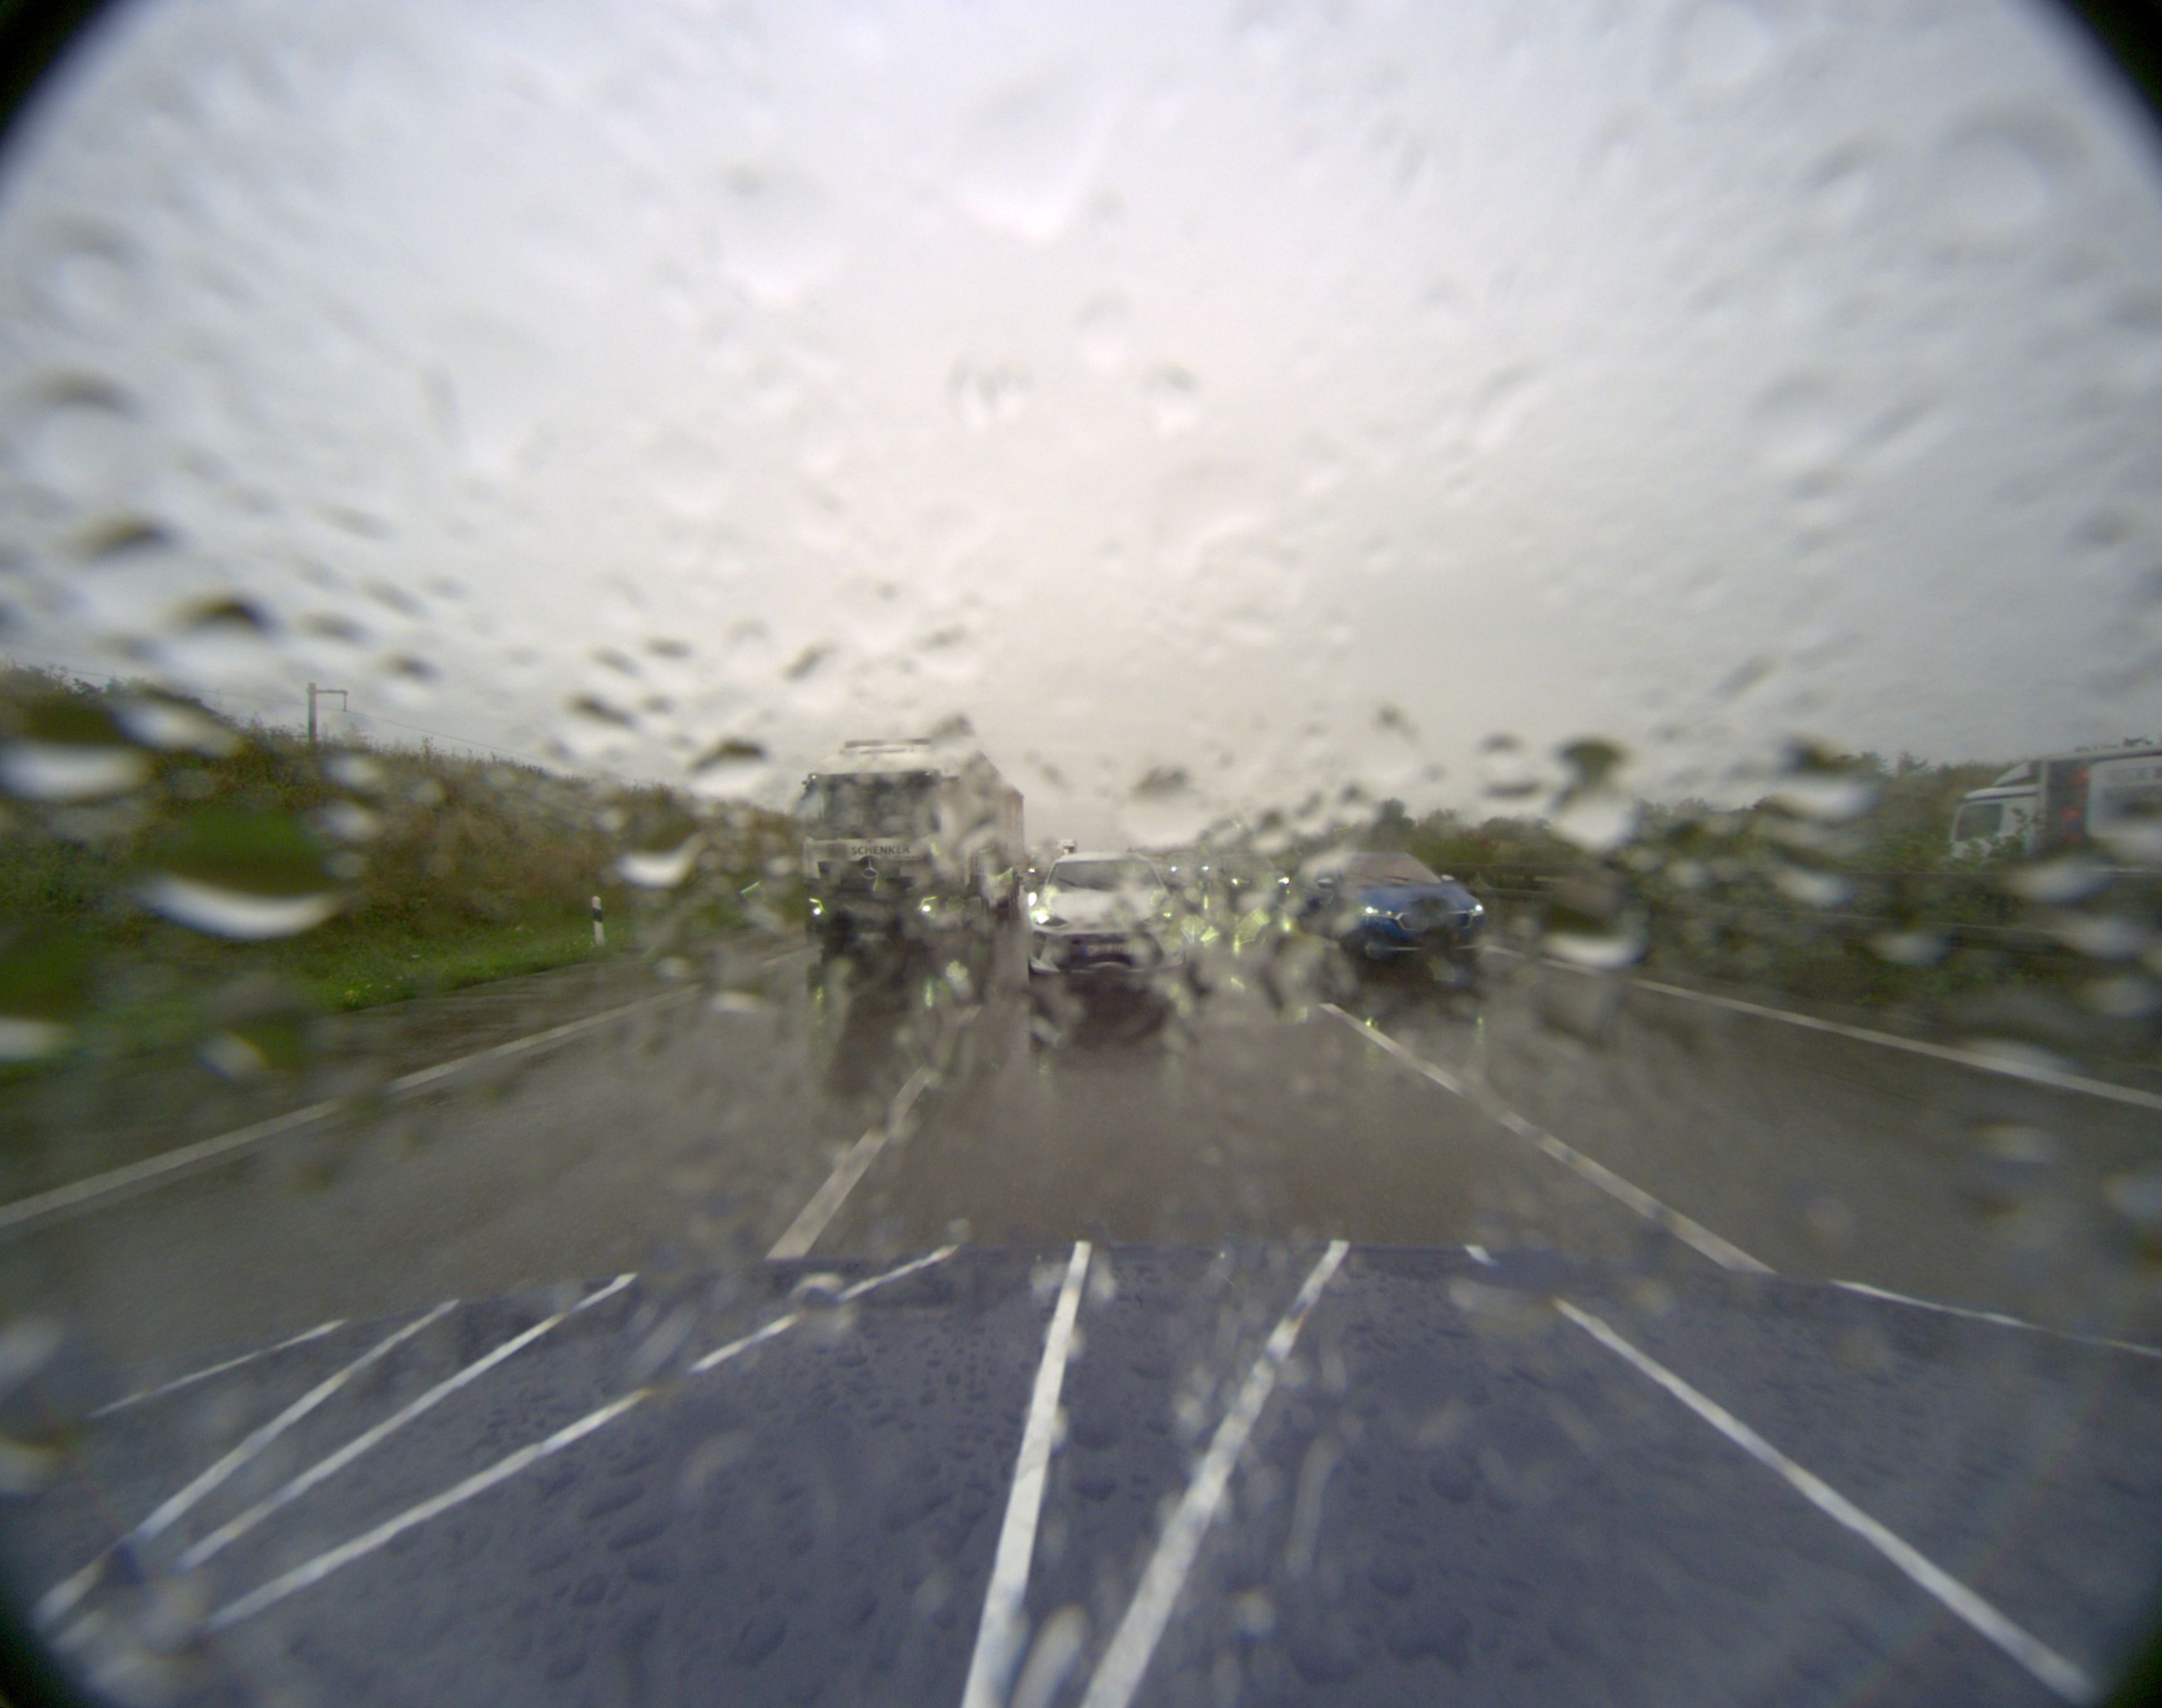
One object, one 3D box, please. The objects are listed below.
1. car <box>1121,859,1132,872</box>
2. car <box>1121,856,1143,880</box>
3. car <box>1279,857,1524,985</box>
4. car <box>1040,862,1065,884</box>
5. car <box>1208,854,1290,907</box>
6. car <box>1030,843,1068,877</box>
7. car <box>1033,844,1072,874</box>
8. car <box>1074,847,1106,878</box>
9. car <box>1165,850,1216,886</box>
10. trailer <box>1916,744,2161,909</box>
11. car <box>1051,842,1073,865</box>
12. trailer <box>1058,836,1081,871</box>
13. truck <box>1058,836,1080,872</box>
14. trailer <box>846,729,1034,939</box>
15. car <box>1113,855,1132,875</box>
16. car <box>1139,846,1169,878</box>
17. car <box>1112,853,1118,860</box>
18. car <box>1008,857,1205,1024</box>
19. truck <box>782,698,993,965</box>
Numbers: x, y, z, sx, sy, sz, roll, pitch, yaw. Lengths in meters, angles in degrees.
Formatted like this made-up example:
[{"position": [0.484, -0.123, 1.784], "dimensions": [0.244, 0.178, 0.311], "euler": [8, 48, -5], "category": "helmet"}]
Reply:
[{"position": [6.172, 1.563, 103.732], "dimensions": [1.458, 1.540, 2.804], "euler": [0, 2, 1], "category": "car"}, {"position": [4.618, 1.227, 69.235], "dimensions": [1.737, 2.002, 4.223], "euler": [-2, 0, 1], "category": "car"}, {"position": [4.432, 0.813, 11.373], "dimensions": [1.790, 1.467, 4.512], "euler": [-2, 0, 1], "category": "car"}, {"position": [-2.587, 1.669, 68.790], "dimensions": [1.998, 1.805, 4.000], "euler": [-2, 0, 1], "category": "car"}, {"position": [5.108, 0.750, 23.640], "dimensions": [1.613, 1.428, 4.370], "euler": [-2, 0, 1], "category": "car"}, {"position": [-1.987, 0.328, 48.551], "dimensions": [1.946, 2.002, 4.446], "euler": [-2, 1, 3], "category": "car"}, {"position": [-2.005, 0.310, 54.978], "dimensions": [2.260, 2.002, 4.270], "euler": [-2, 1, 4], "category": "car"}, {"position": [0.648, 0.560, 51.595], "dimensions": [1.998, 2.002, 4.000], "euler": [-2, 0, 2], "category": "car"}, {"position": [5.276, 0.637, 37.162], "dimensions": [1.889, 1.622, 4.269], "euler": [-2, 0, 0], "category": "car"}, {"position": [20.978, -0.532, 13.432], "dimensions": [1.998, 3.064, 9.554], "euler": [-2, 0, 1], "category": "trailer"}, {"position": [-1.910, -0.086, 78.375], "dimensions": [1.998, 2.231, 4.000], "euler": [-2, 0, 1], "category": "car"}, {"position": [-1.525, -0.003, 105.787], "dimensions": [2.628, 4.635, 9.221], "euler": [-2, 0, 1], "category": "trailer"}, {"position": [-1.622, -0.027, 100.758], "dimensions": [2.628, 4.635, 4.290], "euler": [-2, 0, 1], "category": "truck"}, {"position": [-3.319, -0.479, 22.688], "dimensions": [2.633, 4.224, 14.175], "euler": [-2, 1, 1], "category": "trailer"}, {"position": [4.310, 1.091, 78.907], "dimensions": [1.737, 2.002, 4.223], "euler": [-2, 0, 1], "category": "car"}, {"position": [4.876, 0.504, 51.219], "dimensions": [1.888, 2.002, 4.270], "euler": [-2, 0, 4], "category": "car"}, {"position": [7.749, 0.523, 174.724], "dimensions": [1.279, 1.567, 2.848], "euler": [-2, 0, 0], "category": "car"}, {"position": [0.280, 0.859, 9.474], "dimensions": [1.893, 1.578, 4.000], "euler": [-2, 0, 1], "category": "car"}, {"position": [-3.434, -0.384, 14.868], "dimensions": [2.633, 4.229, 5.042], "euler": [-2, 1, 0], "category": "truck"}]
